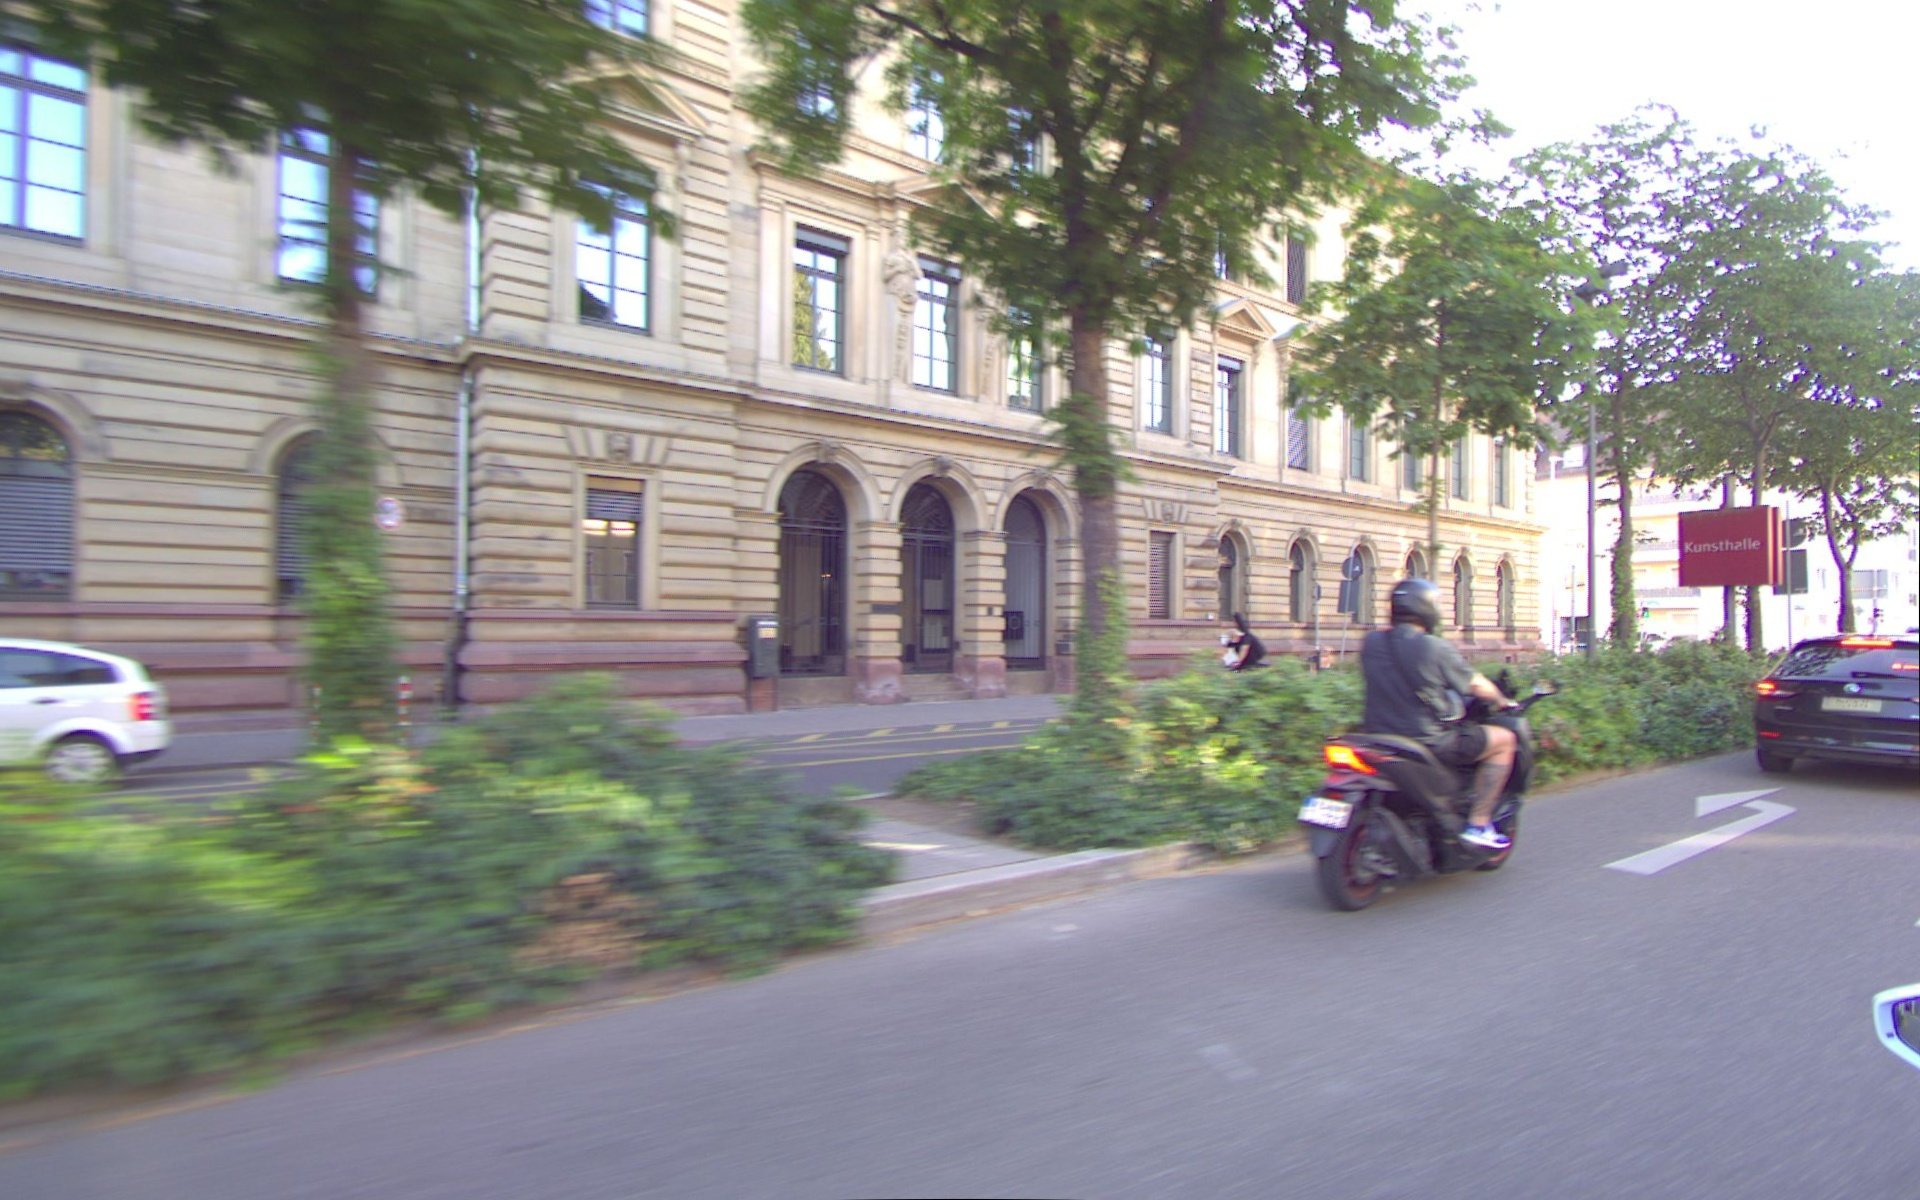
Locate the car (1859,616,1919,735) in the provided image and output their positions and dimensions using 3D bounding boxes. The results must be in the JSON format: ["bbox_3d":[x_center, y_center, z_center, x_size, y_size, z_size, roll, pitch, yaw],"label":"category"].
[{"bbox_3d":[16.438,1.167,16.219,4.703,1.772,1.977,1,-2,-37],"label":"car"}]

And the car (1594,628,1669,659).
[{"bbox_3d":[38.486,2.473,57.534,4.567,1.708,1.982,1,-2,-34],"label":"car"}]

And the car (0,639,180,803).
[{"bbox_3d":[-9.984,1.152,9.697,3.811,1.527,1.655,1,-2,-38],"label":"car"}]

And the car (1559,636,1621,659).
[{"bbox_3d":[37.291,2.806,59.447,3.958,1.327,1.596,1,-2,-34],"label":"car"}]

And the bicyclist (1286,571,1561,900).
[{"bbox_3d":[2.508,0.647,5.431,1.220,1.543,0.861,1,0,-37],"label":"bicyclist"}]

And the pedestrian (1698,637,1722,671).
[{"bbox_3d":[35.782,2.562,47.915,0.808,1.605,0.628,1,1,-29],"label":"pedestrian"}]

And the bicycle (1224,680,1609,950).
[{"bbox_3d":[2.568,1.026,5.481,2.431,1.056,0.864,2,-1,-37],"label":"bicycle"}]

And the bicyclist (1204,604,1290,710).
[{"bbox_3d":[5.261,1.047,18.418,1.274,1.858,0.875,2,-5,-37],"label":"bicyclist"}]

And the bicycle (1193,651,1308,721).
[{"bbox_3d":[5.346,1.553,18.428,2.155,1.209,0.875,2,-5,-37],"label":"bicycle"}]

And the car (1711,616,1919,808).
[{"bbox_3d":[9.866,1.044,10.654,4.697,1.679,1.978,2,-2,-40],"label":"car"}]
